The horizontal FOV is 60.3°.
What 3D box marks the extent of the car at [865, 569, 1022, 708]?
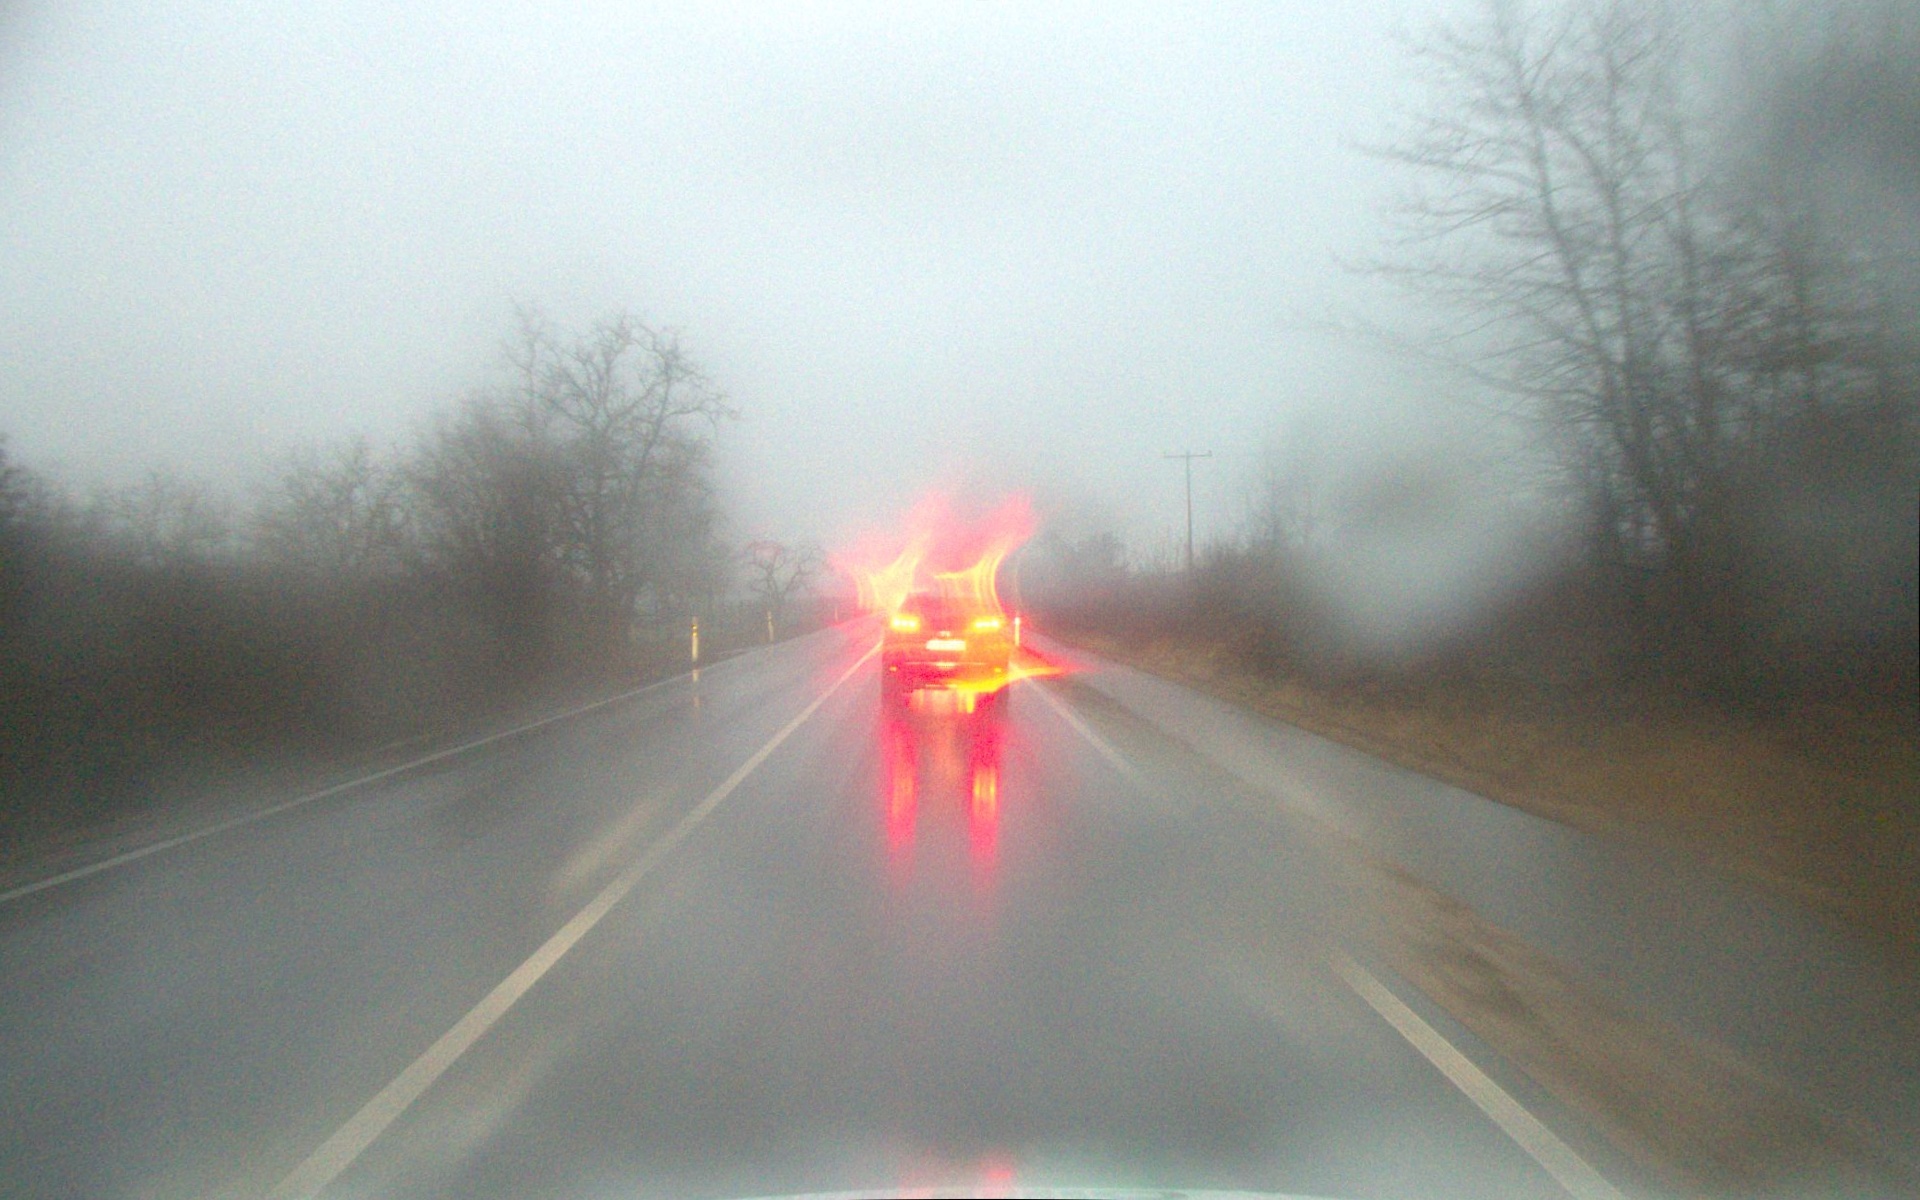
[{"bbox_3d":[-0.254,0.505,24.577,2.077,1.852,4.979,0,0,-1],"label":"car"}]
